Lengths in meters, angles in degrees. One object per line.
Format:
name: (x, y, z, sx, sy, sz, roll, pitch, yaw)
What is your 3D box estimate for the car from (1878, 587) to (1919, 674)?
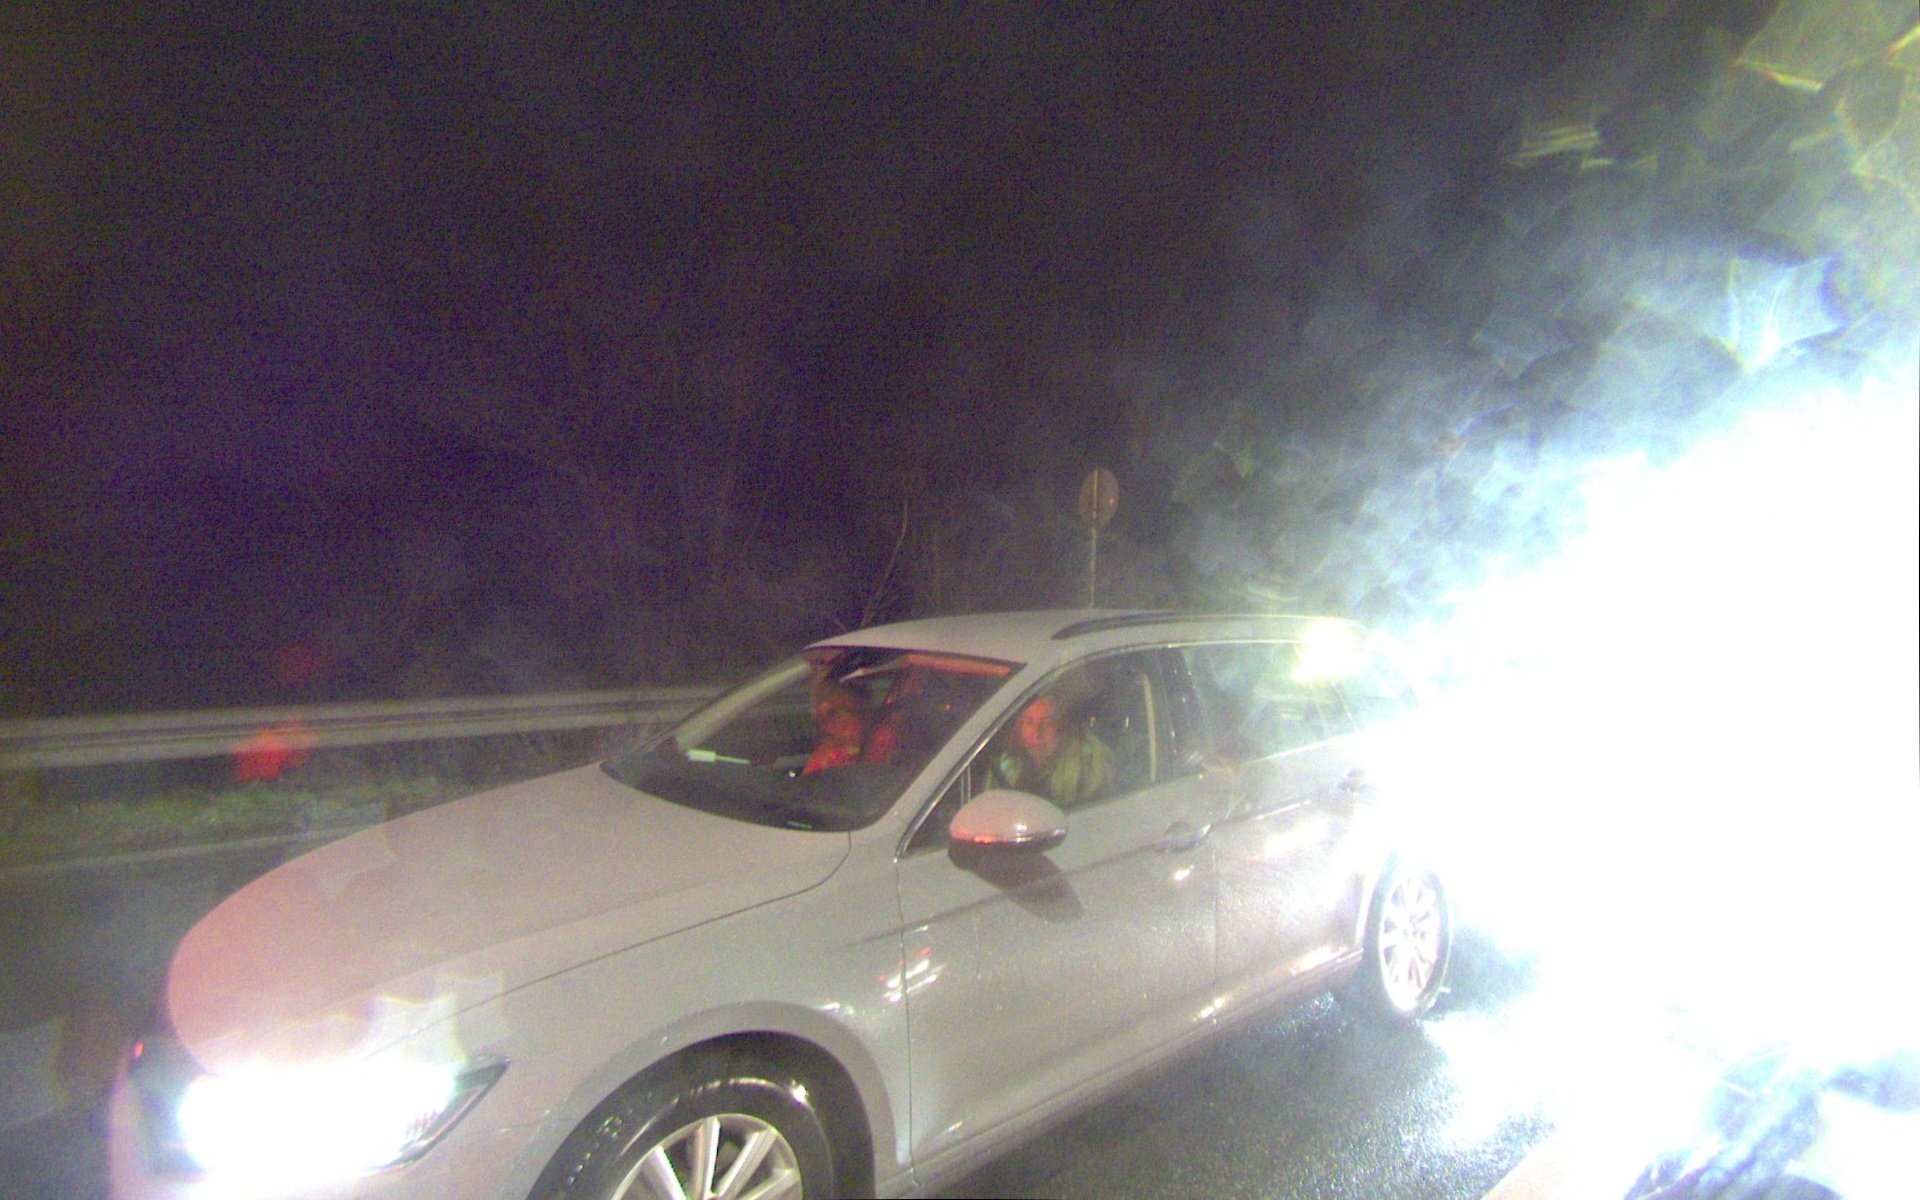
car: (19.842, 0.566, 19.999, 4.315, 1.618, 1.997, -1, 2, -41)

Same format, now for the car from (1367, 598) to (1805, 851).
car: (5.025, 0.725, 7.897, 4.067, 1.435, 1.742, -1, 0, -40)

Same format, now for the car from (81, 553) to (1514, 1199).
car: (0.022, 0.686, 3.319, 4.336, 1.541, 1.710, -1, 0, -40)

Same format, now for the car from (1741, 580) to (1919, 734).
car: (11.493, 0.579, 12.577, 4.315, 1.618, 1.997, -1, 2, -41)

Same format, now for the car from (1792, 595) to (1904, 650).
car: (26.799, 0.651, 30.507, 4.263, 1.500, 1.996, -1, -1, -42)
